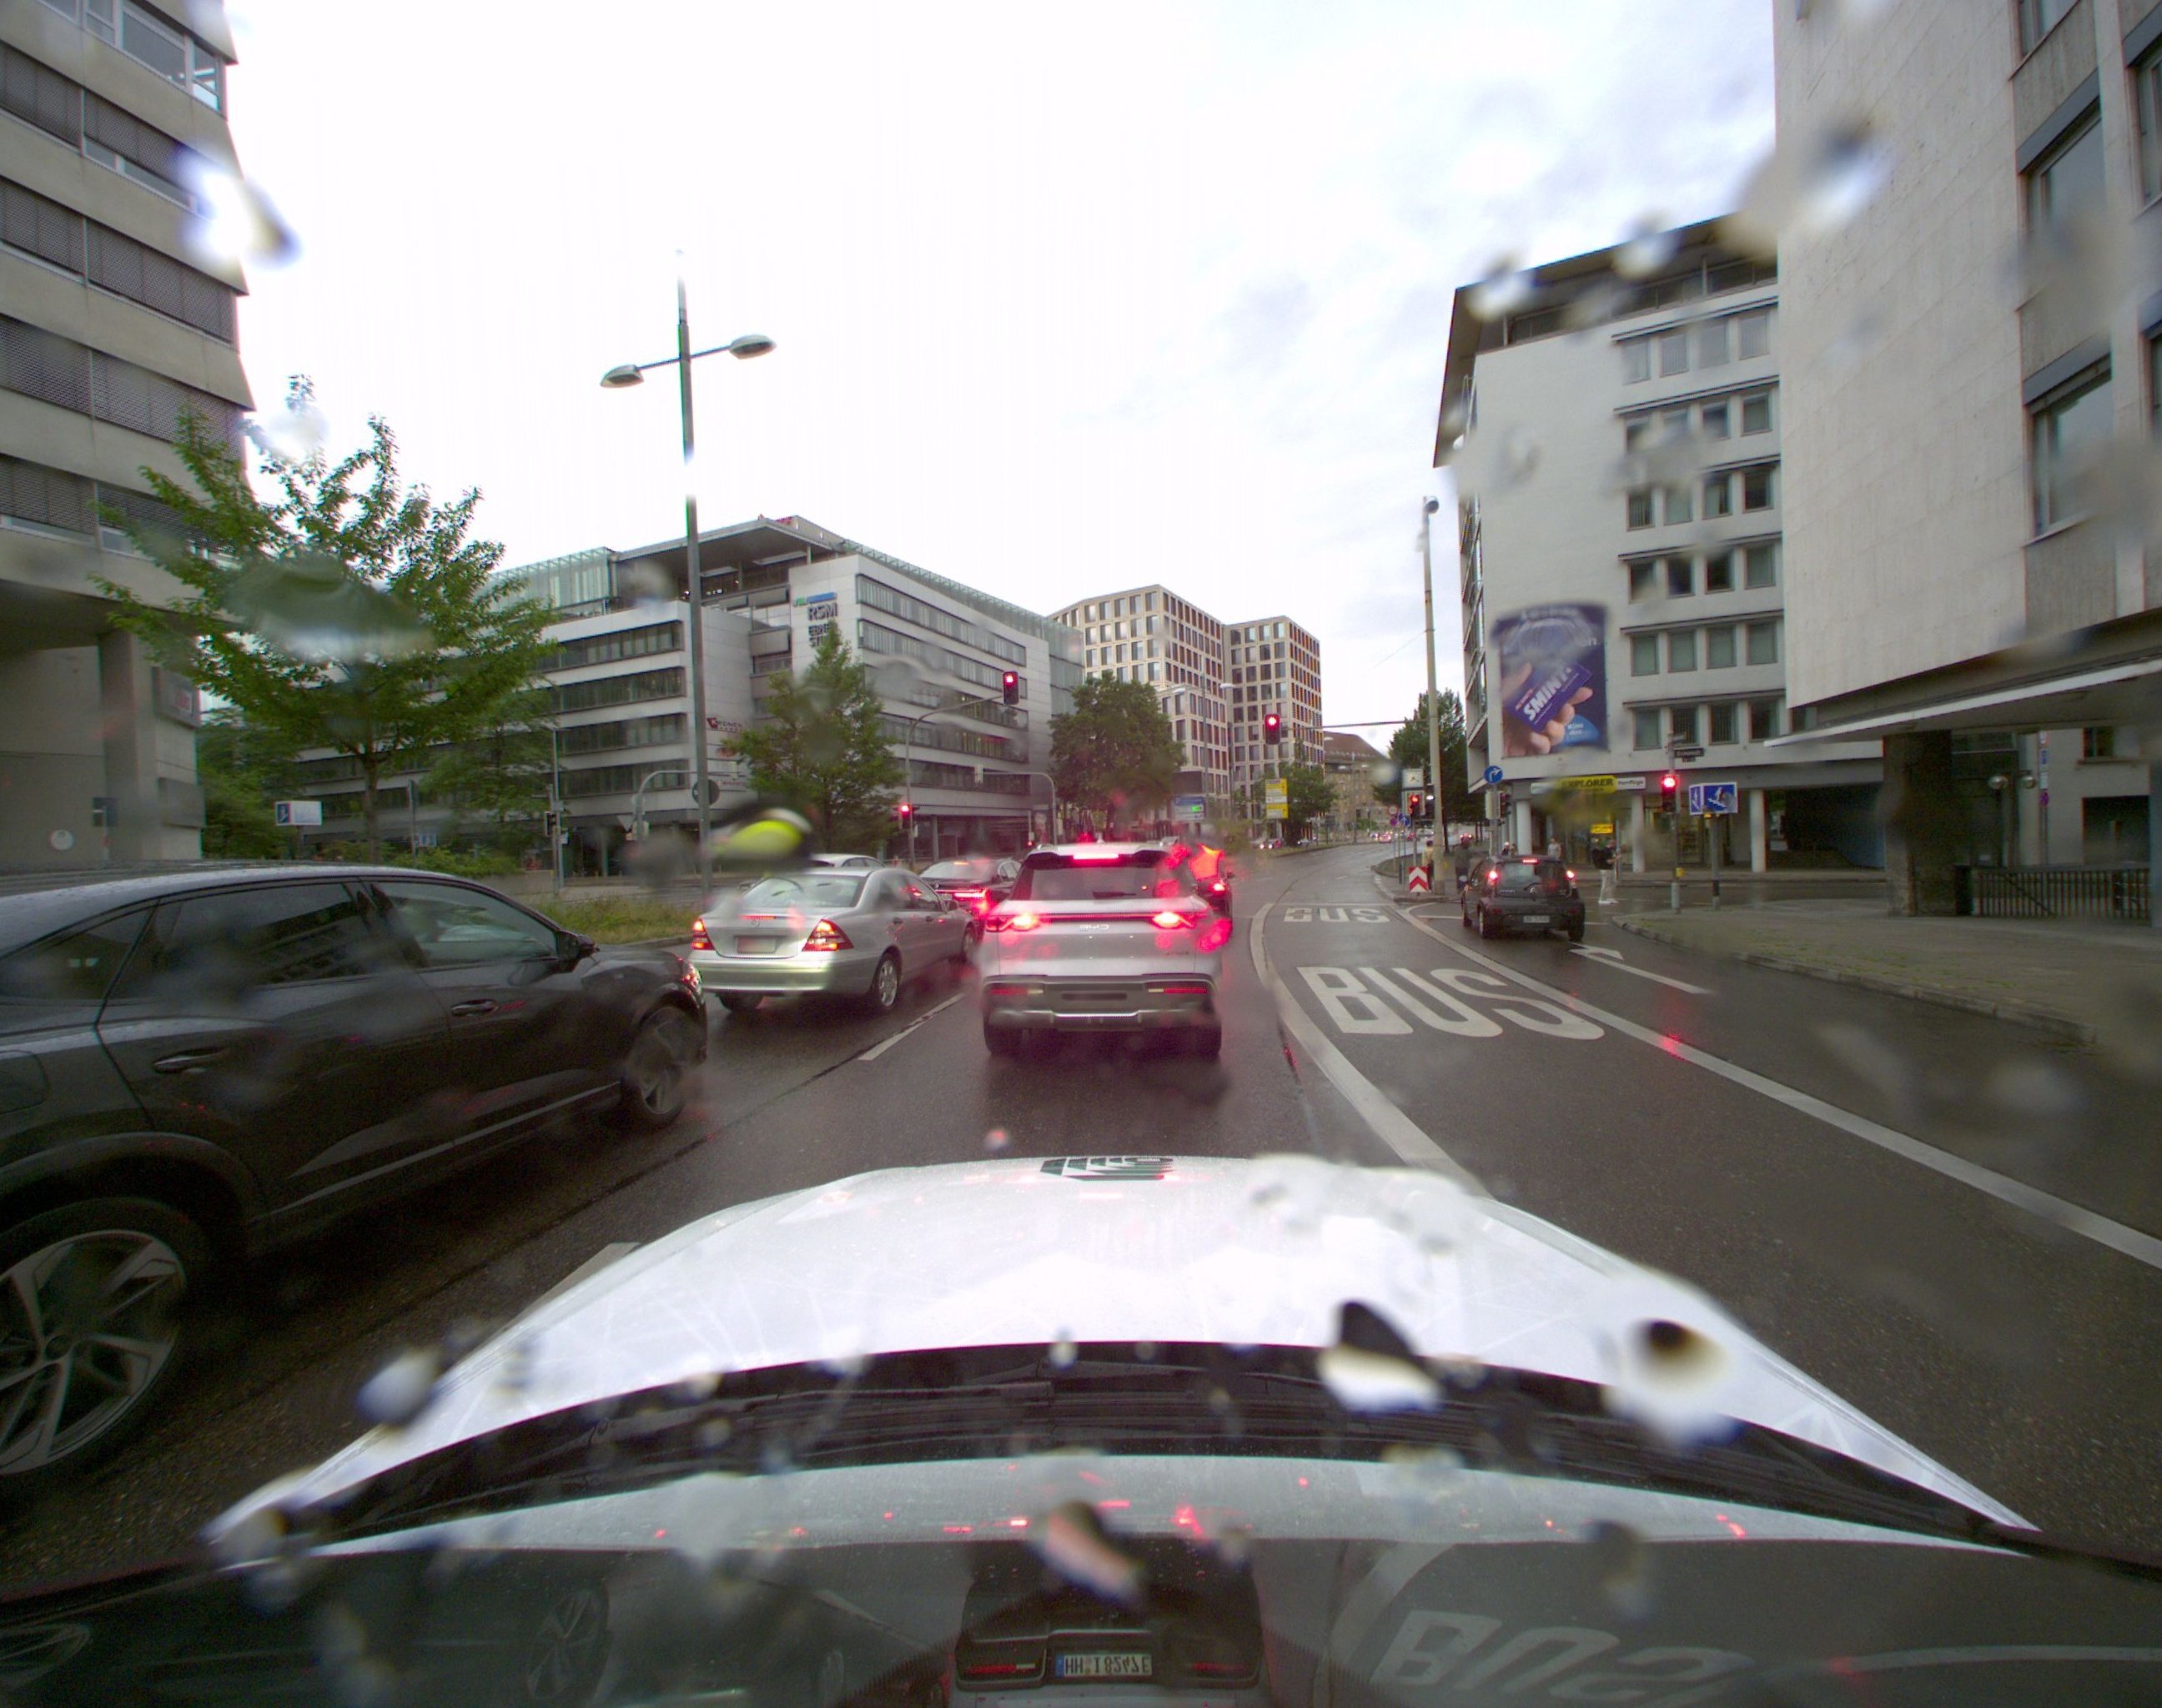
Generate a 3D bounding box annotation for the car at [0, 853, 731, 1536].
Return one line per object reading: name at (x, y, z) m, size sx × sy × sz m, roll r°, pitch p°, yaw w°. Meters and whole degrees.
car at (-3.205, 0.775, 3.218) m, size 1.642 × 1.521 × 4.274 m, roll -1°, pitch 0°, yaw 2°

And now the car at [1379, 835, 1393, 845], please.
car at (51.998, -2.353, 138.698) m, size 1.871 × 1.643 × 4.023 m, roll -1°, pitch 0°, yaw 24°

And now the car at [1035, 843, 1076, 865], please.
car at (-1.837, 0.012, 59.738) m, size 1.630 × 1.536 × 4.172 m, roll -1°, pitch 0°, yaw 18°

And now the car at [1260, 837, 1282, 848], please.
car at (27.621, -1.694, 118.467) m, size 1.974 × 1.488 × 4.025 m, roll -1°, pitch 1°, yaw 29°

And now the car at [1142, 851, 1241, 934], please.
car at (2.374, 0.711, 16.709) m, size 1.682 × 1.486 × 4.013 m, roll -1°, pitch -1°, yaw 12°

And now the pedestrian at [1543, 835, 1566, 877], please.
pedestrian at (20.566, 0.072, 35.335) m, size 0.778 × 1.794 × 0.662 m, roll -1°, pitch 0°, yaw -45°

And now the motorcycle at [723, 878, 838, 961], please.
motorcycle at (-4.775, 1.001, 13.105) m, size 0.795 × 1.185 × 2.034 m, roll -1°, pitch -1°, yaw 11°

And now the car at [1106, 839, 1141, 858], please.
car at (3.720, -0.509, 70.038) m, size 1.629 × 1.581 × 4.109 m, roll -1°, pitch 0°, yaw 23°

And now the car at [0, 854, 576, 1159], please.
car at (-6.400, 0.793, 6.300) m, size 1.858 × 1.533 × 4.780 m, roll -1°, pitch 0°, yaw 2°

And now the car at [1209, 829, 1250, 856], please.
car at (11.892, -0.877, 65.013) m, size 1.975 × 2.014 × 4.876 m, roll -1°, pitch -1°, yaw 25°

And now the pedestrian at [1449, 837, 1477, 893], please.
pedestrian at (12.379, 0.346, 26.393) m, size 0.742 × 1.798 × 0.821 m, roll -1°, pitch 1°, yaw 22°

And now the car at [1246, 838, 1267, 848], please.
car at (26.413, -1.668, 122.510) m, size 1.974 × 1.488 × 4.025 m, roll -1°, pitch 1°, yaw 29°

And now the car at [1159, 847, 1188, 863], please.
car at (9.961, 0.072, 87.432) m, size 1.616 × 1.559 × 4.620 m, roll -1°, pitch 1°, yaw 25°

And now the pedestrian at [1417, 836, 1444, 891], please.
pedestrian at (11.547, 0.306, 26.921) m, size 0.742 × 1.798 × 0.821 m, roll -1°, pitch 1°, yaw 22°

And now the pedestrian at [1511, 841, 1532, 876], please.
pedestrian at (19.515, 0.204, 36.080) m, size 0.657 × 1.543 × 0.618 m, roll -1°, pitch 0°, yaw -45°

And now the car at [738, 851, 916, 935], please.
car at (-4.963, 0.706, 16.526) m, size 1.696 × 1.486 × 4.013 m, roll -1°, pitch -1°, yaw 11°

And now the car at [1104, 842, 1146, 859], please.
car at (4.296, -0.341, 78.071) m, size 1.796 × 1.510 × 5.229 m, roll -1°, pitch 1°, yaw 30°

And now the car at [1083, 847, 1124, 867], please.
car at (1.654, 0.218, 58.835) m, size 1.675 × 1.385 × 3.888 m, roll -1°, pitch -1°, yaw 21°

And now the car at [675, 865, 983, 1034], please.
car at (-2.454, 0.846, 9.078) m, size 1.561 × 1.407 × 4.120 m, roll -1°, pitch -1°, yaw 10°

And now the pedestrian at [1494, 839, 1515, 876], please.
pedestrian at (19.029, 0.142, 36.608) m, size 0.657 × 1.655 × 0.662 m, roll -1°, pitch 0°, yaw -45°

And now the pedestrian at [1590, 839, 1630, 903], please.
pedestrian at (14.564, 0.462, 22.439) m, size 0.764 × 1.731 × 0.599 m, roll -1°, pitch 0°, yaw 16°

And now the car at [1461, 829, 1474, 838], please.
car at (70.774, -3.725, 149.068) m, size 1.677 × 1.486 × 4.025 m, roll -1°, pitch -1°, yaw 32°

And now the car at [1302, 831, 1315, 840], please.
car at (45.476, -3.726, 162.625) m, size 1.590 × 1.741 × 3.467 m, roll -1°, pitch -1°, yaw 34°

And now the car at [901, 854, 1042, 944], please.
car at (-1.939, 0.769, 15.610) m, size 1.561 × 1.486 × 4.010 m, roll -1°, pitch -1°, yaw 9°

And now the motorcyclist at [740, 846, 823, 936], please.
motorcyclist at (-4.789, 0.580, 13.096) m, size 0.765 × 1.380 × 1.122 m, roll -1°, pitch -1°, yaw 11°

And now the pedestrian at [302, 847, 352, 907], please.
pedestrian at (-21.423, 0.642, 23.141) m, size 0.672 × 1.683 × 0.766 m, roll -1°, pitch 0°, yaw 15°

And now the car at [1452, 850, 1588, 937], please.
car at (8.164, 0.669, 15.481) m, size 1.558 × 1.429 × 4.018 m, roll -1°, pitch -1°, yaw 18°

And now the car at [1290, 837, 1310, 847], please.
car at (34.612, -1.902, 128.543) m, size 1.974 × 1.488 × 4.025 m, roll -1°, pitch 1°, yaw 29°

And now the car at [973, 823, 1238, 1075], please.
car at (0.296, 0.659, 7.483) m, size 1.768 × 1.679 × 4.004 m, roll -1°, pitch -1°, yaw 4°

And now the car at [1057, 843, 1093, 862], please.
car at (-0.478, -0.123, 69.107) m, size 1.623 × 1.571 × 3.740 m, roll -1°, pitch -1°, yaw 25°

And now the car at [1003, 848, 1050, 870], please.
car at (-4.131, 0.370, 62.020) m, size 1.976 × 1.610 × 4.022 m, roll -1°, pitch 0°, yaw 22°

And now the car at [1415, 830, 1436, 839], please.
car at (80.062, -4.479, 189.310) m, size 3.949 × 2.013 × 2.012 m, roll -1°, pitch 0°, yaw 43°
